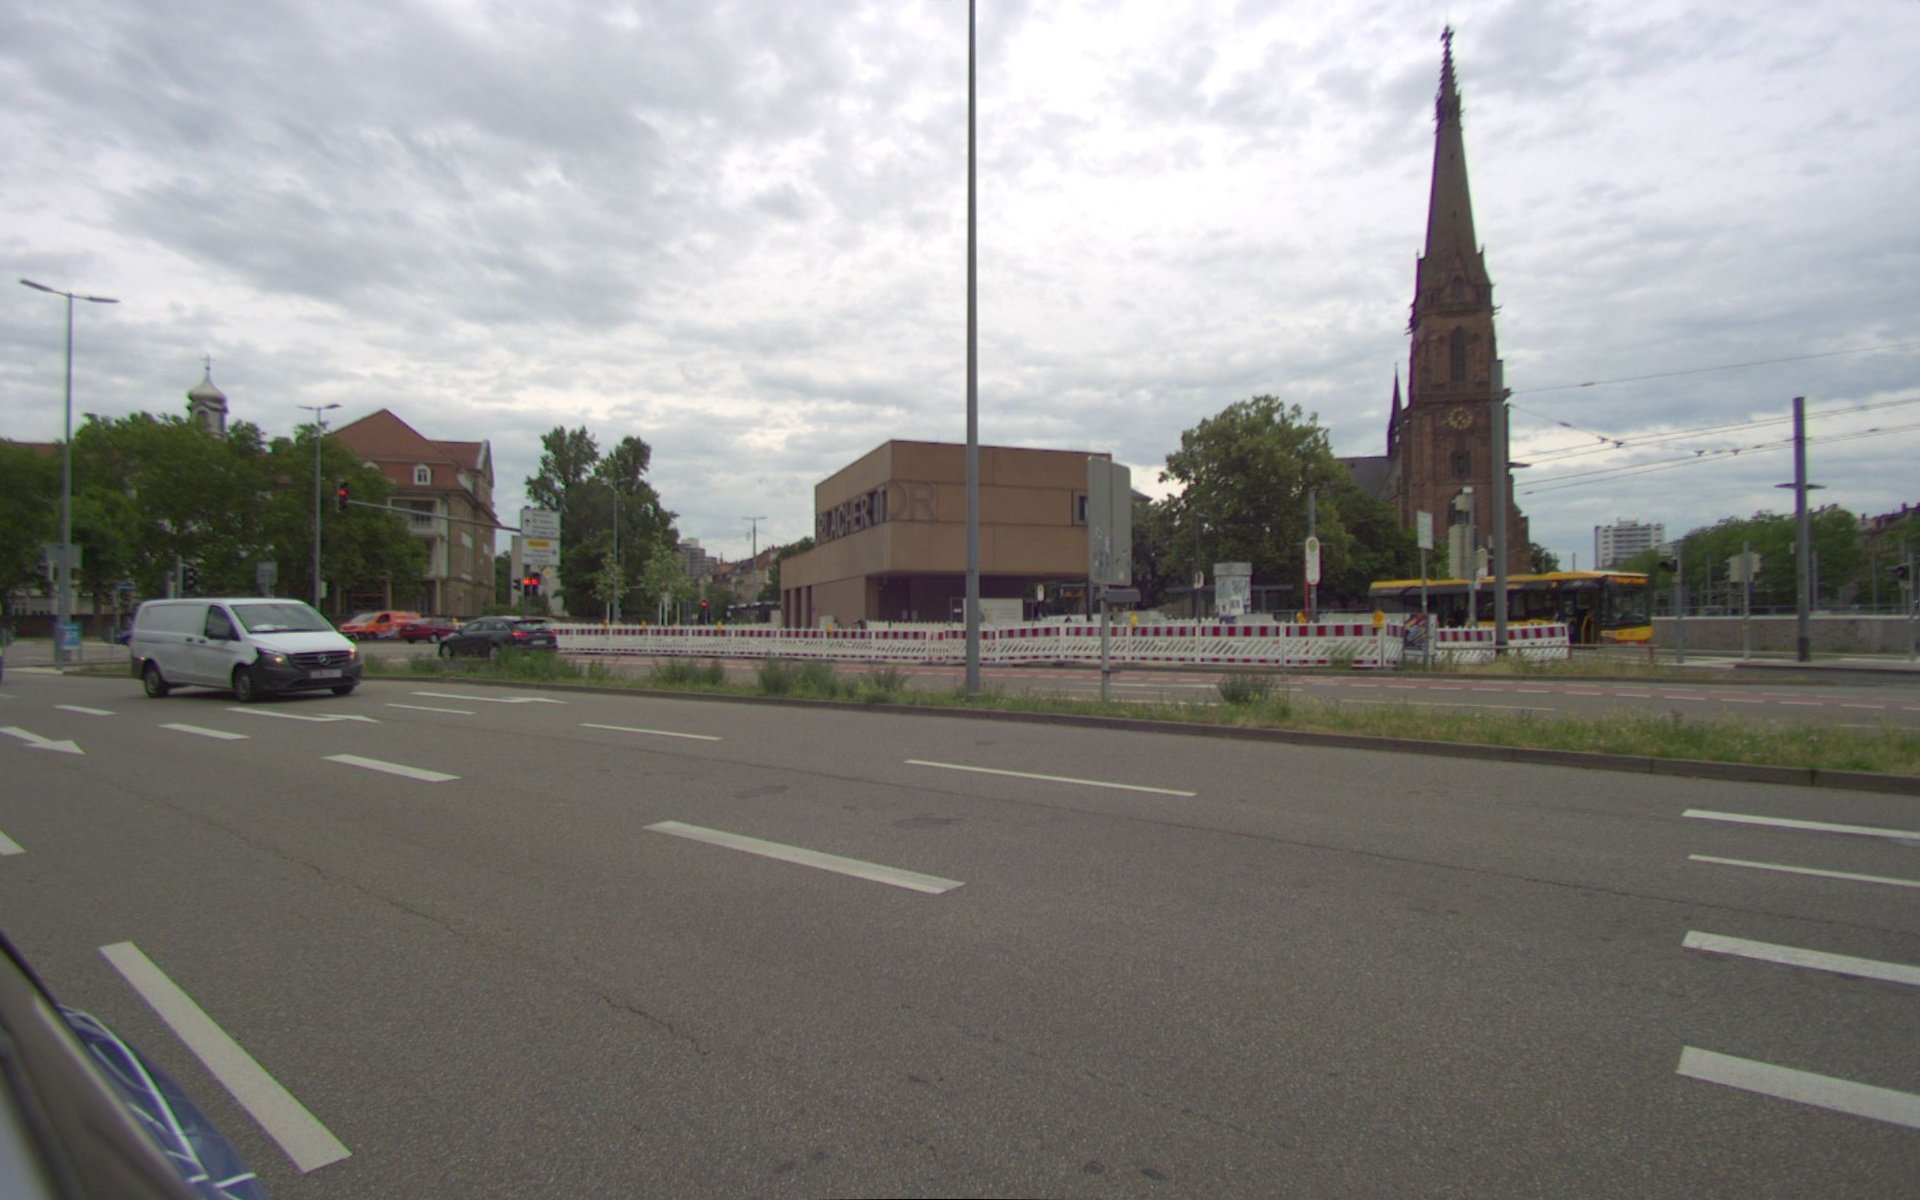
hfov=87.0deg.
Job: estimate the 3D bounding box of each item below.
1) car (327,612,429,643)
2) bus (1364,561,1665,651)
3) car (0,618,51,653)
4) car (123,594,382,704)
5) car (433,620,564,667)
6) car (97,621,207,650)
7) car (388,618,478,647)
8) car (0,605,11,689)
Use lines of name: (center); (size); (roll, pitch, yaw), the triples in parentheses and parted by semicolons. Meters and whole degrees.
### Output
car: (-34.061, 1.627, 59.417); (1.898, 1.730, 5.208); (-1, -2, 20)
bus: (21.864, 0.266, 41.319); (2.816, 3.100, 12.057); (-1, 0, -18)
car: (-50.783, 1.888, 53.240); (3.931, 1.741, 2.006); (-1, -1, -18)
car: (-13.577, 0.882, 19.368); (5.063, 1.896, 1.906); (-1, 0, 27)
car: (-14.722, 1.353, 32.255); (3.987, 1.409, 1.978); (-1, -2, 32)
car: (-44.254, 1.921, 55.521); (1.905, 1.552, 4.303); (-1, -2, 29)
car: (-29.499, 1.826, 56.794); (1.900, 1.552, 4.313); (-1, -2, 23)
car: (-24.902, 1.128, 24.095); (4.501, 1.957, 1.982); (-1, -2, 27)
